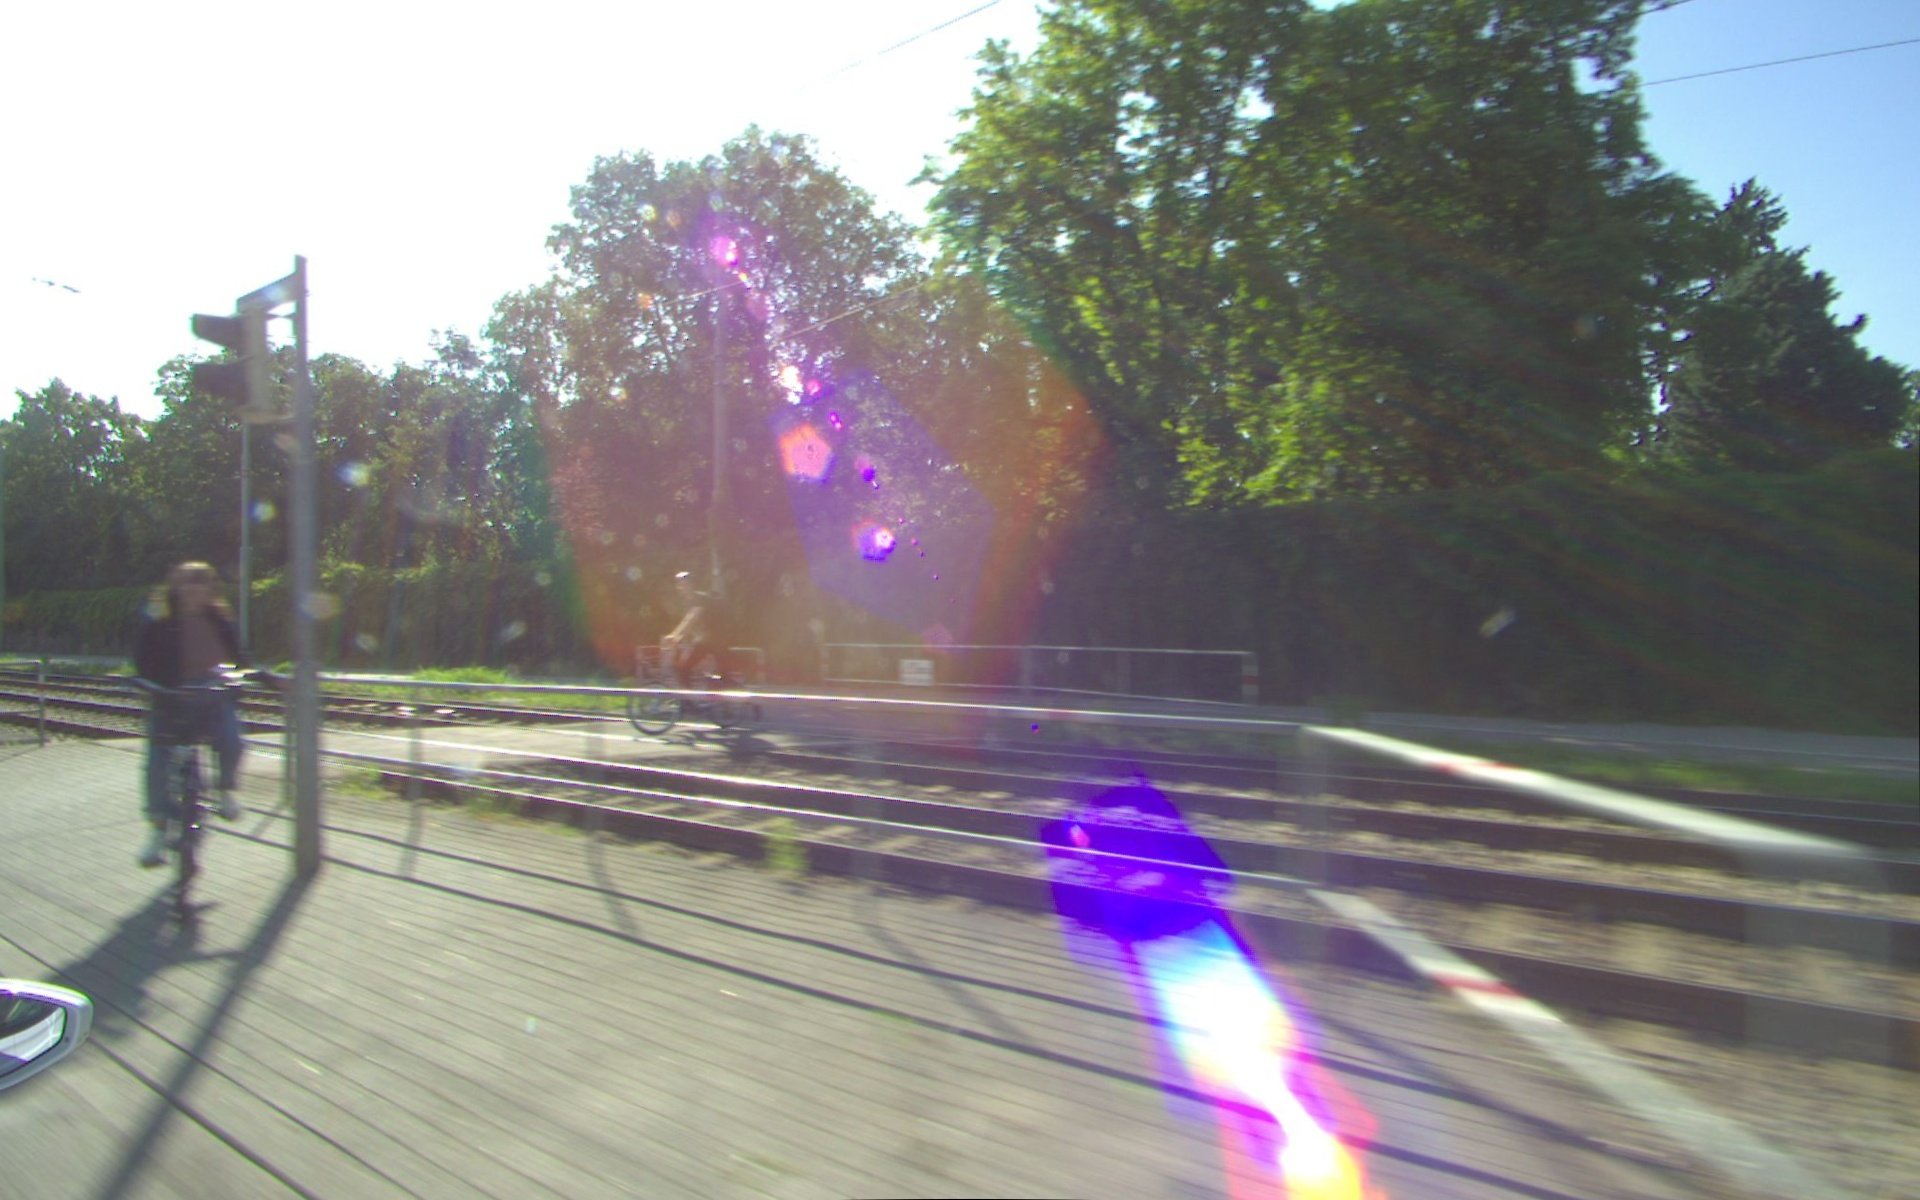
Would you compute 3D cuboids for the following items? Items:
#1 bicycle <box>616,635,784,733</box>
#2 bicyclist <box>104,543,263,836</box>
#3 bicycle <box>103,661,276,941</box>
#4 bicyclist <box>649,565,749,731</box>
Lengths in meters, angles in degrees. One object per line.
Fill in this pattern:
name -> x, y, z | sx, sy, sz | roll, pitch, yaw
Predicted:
bicycle -> -3.326, 1.034, 12.847 | 1.900, 1.129, 0.942 | 0, 0, -31
bicyclist -> -4.255, 0.447, 5.499 | 0.638, 1.434, 1.004 | 0, 0, -39
bicycle -> -4.185, 0.957, 5.429 | 0.638, 1.169, 1.921 | 0, -1, -39
bicyclist -> -3.350, 0.591, 12.827 | 1.022, 2.020, 0.942 | 0, 0, -31
